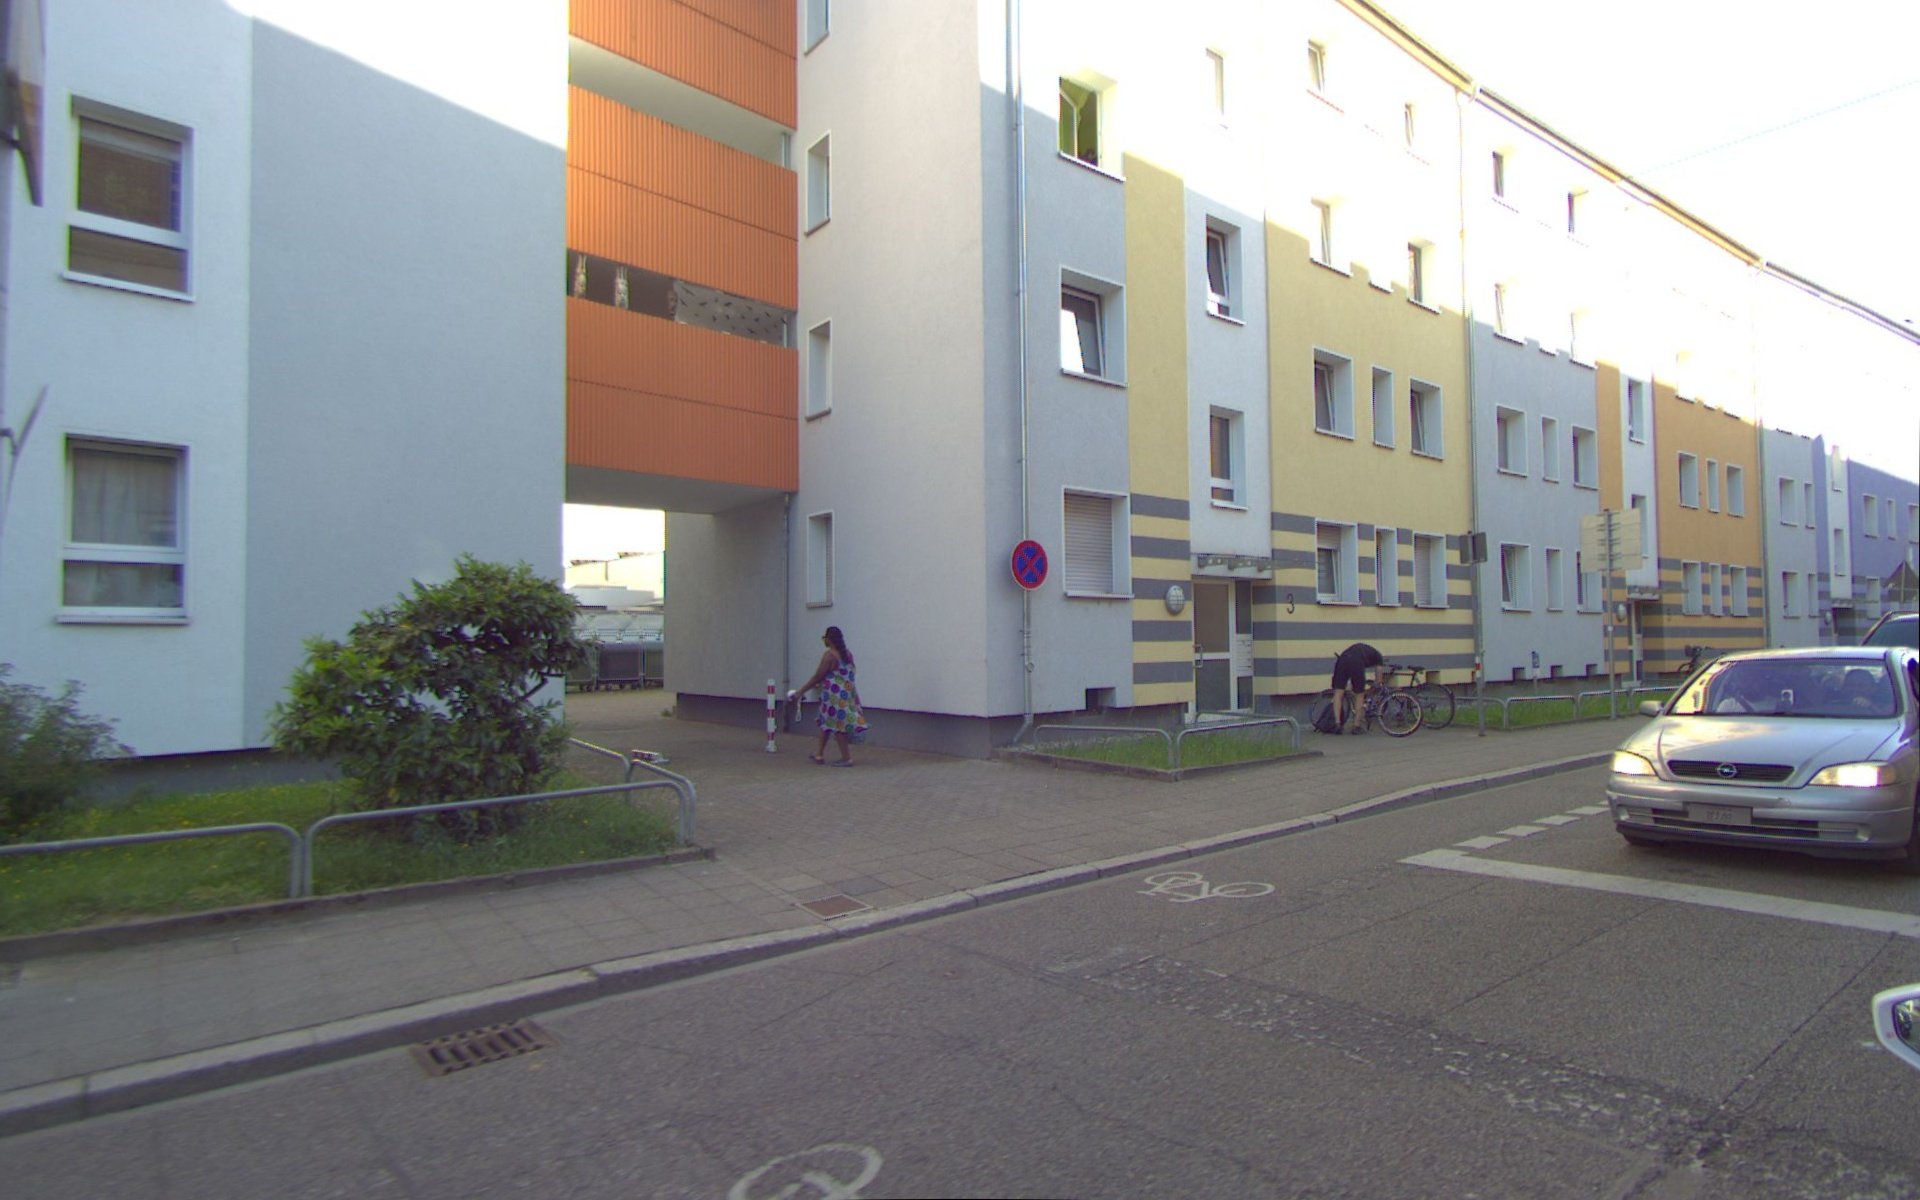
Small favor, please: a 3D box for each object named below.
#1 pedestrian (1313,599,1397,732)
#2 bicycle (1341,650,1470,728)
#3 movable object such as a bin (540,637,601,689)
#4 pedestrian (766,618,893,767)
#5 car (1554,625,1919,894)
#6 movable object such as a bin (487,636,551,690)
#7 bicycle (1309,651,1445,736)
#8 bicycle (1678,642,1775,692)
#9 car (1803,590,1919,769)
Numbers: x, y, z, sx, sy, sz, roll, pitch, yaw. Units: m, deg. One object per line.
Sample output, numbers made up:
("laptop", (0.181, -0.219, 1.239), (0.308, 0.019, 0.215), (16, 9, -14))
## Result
("pedestrian", (5.762, 0.945, 14.689), (0.854, 1.879, 0.720), (0, -2, -14))
("bicycle", (7.016, 1.371, 15.883), (0.646, 1.160, 1.736), (1, -3, -42))
("movable object such as a bin", (-11.484, 1.832, 29.618), (1.370, 1.490, 1.190), (1, -2, -42))
("pedestrian", (-1.497, 1.014, 11.513), (1.072, 1.593, 1.002), (1, -2, -42))
("car", (6.348, 0.988, 7.584), (4.098, 1.505, 1.729), (1, -5, -37))
("movable object such as a bin", (-12.577, 1.780, 28.663), (1.370, 1.490, 1.190), (1, -2, -42))
("bicycle", (6.111, 1.338, 14.798), (0.646, 1.160, 1.736), (1, -3, -42))
("bicycle", (18.382, 1.588, 24.110), (0.646, 1.160, 1.736), (1, -3, -42))
("car", (12.012, 0.871, 11.907), (5.046, 1.858, 1.887), (1, -5, -36))
